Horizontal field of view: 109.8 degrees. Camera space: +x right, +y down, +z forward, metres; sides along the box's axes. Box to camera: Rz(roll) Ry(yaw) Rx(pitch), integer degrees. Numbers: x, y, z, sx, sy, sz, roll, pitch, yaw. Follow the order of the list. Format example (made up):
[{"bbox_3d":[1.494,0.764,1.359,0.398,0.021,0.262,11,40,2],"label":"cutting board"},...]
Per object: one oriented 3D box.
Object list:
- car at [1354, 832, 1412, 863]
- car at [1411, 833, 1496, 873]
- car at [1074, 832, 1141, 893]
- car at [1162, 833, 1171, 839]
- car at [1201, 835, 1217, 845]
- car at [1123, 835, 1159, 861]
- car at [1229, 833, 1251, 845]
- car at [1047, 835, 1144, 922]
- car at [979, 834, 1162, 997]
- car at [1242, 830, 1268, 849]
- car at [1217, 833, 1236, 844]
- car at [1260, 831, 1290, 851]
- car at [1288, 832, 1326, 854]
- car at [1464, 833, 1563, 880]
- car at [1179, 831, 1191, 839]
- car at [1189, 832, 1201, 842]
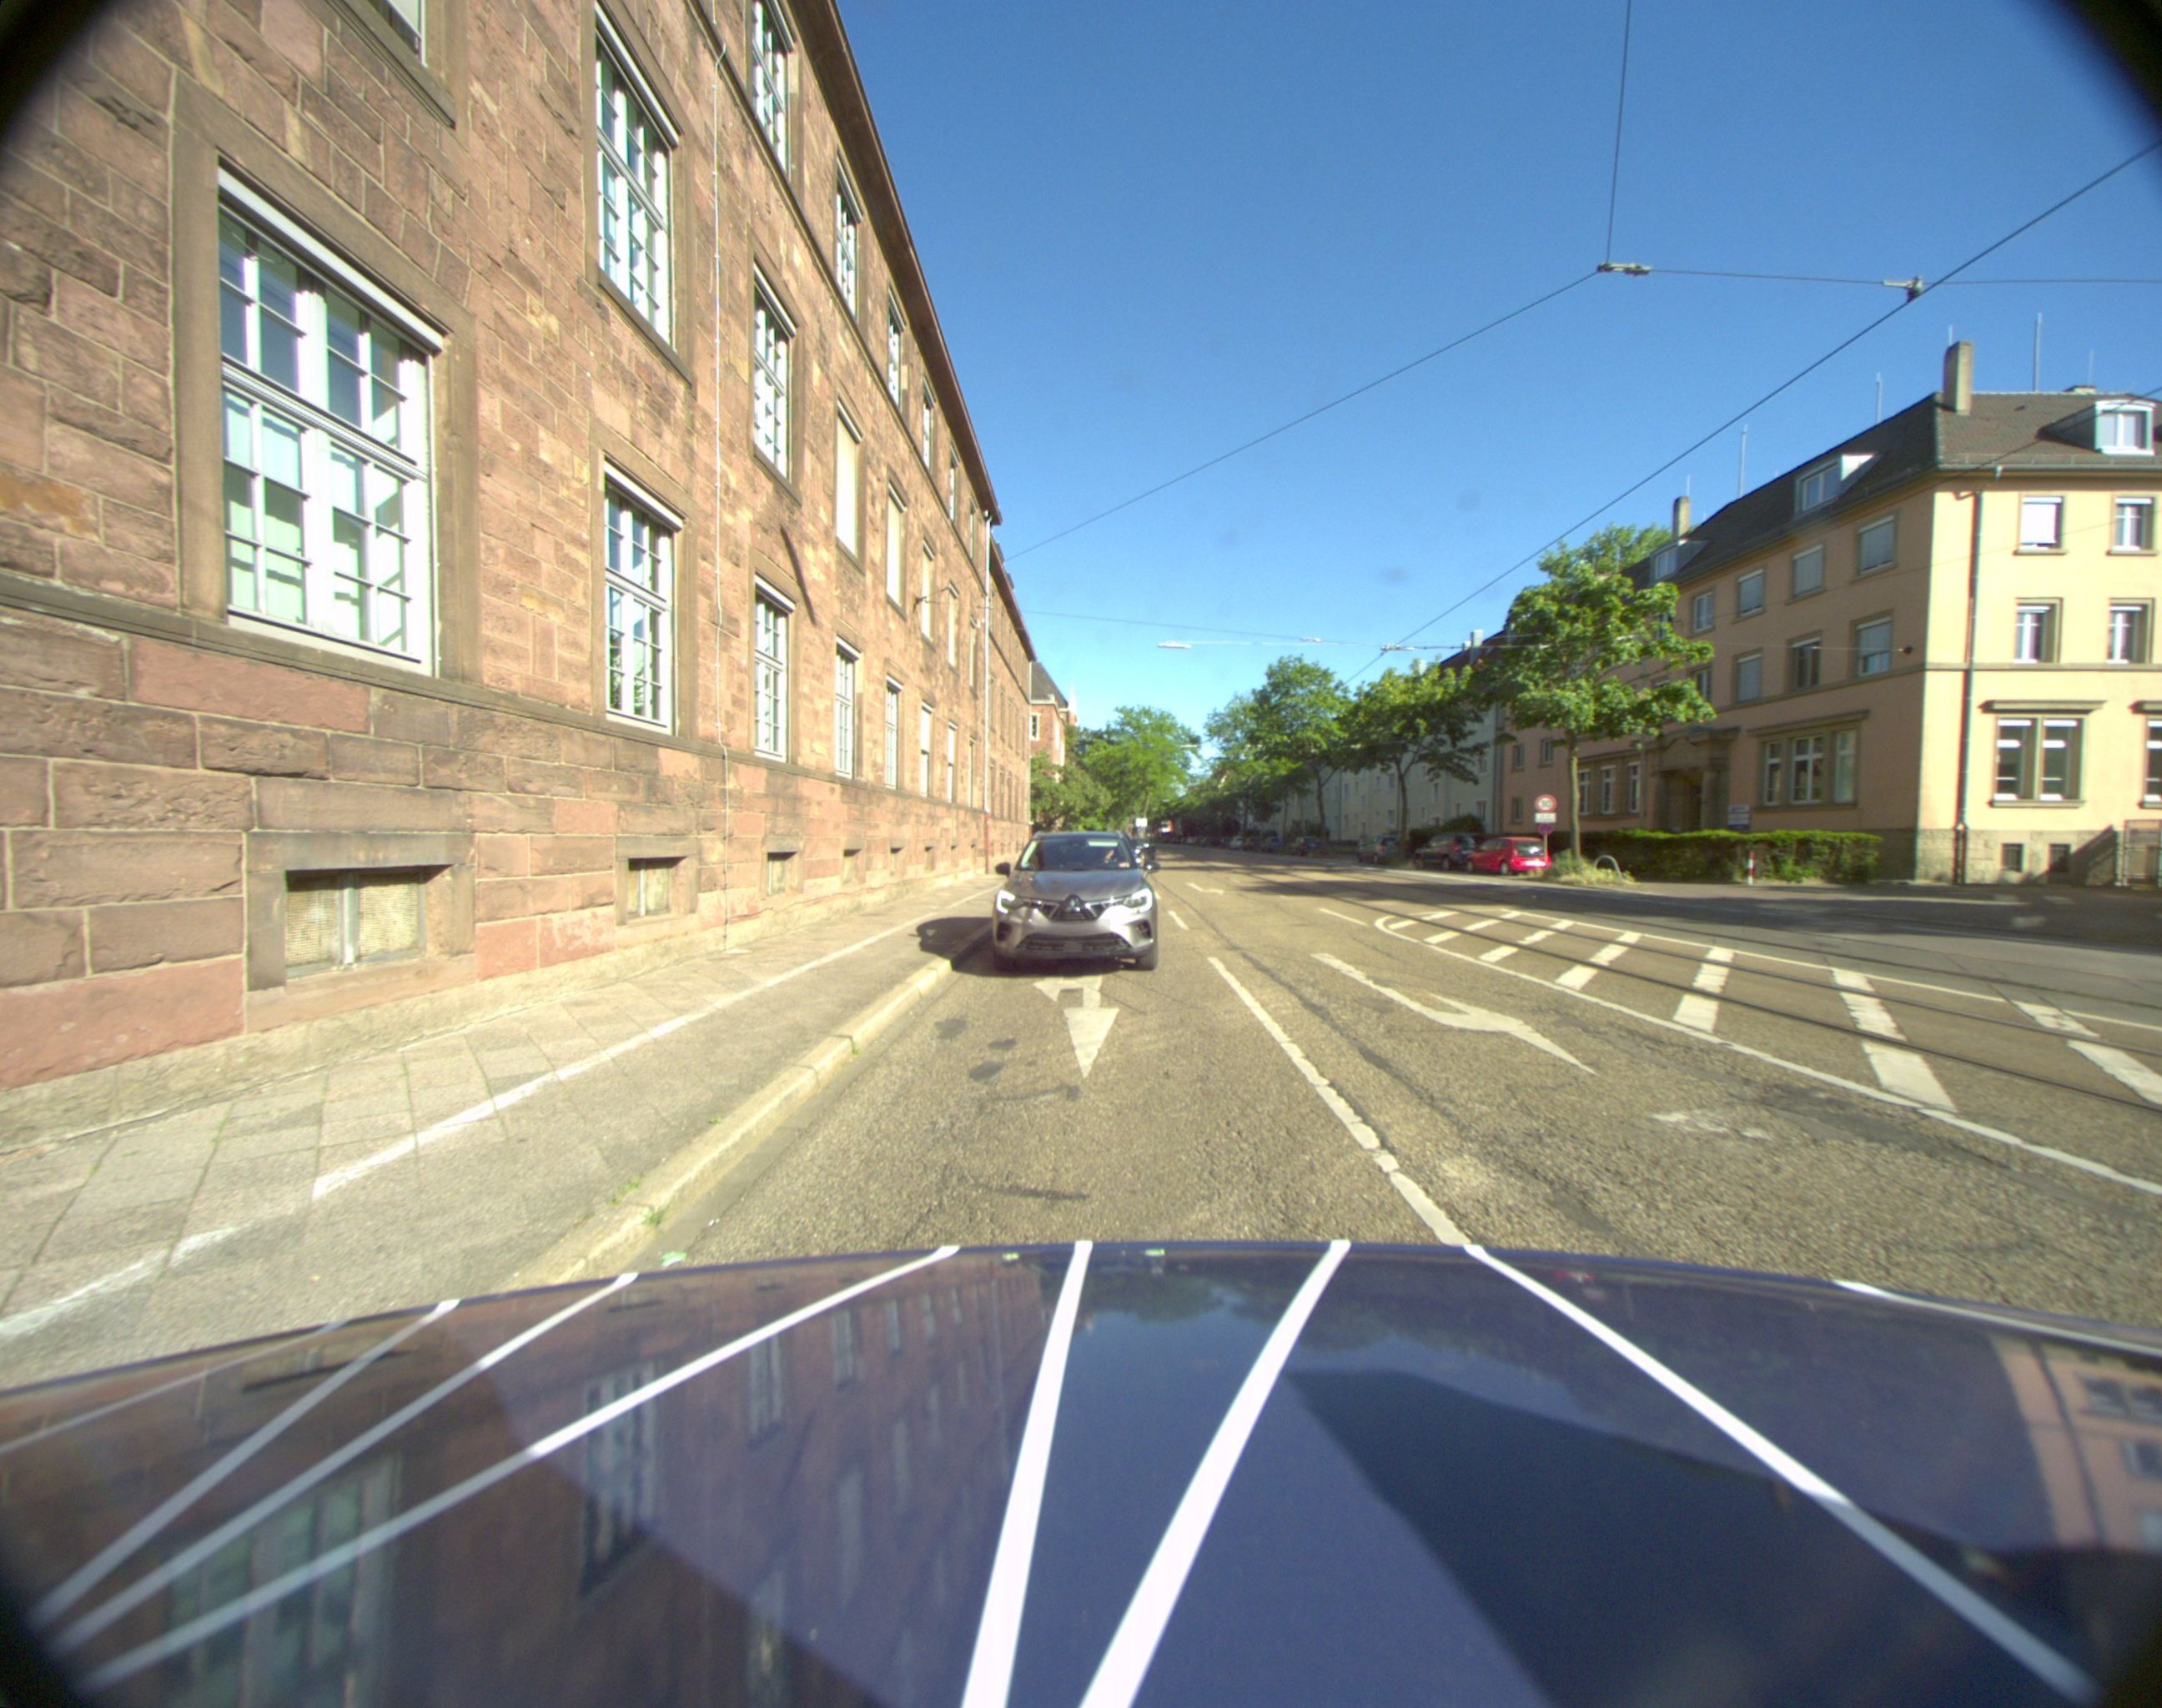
[{"bbox_3d":[17.024,-0.417,43.004,1.815,1.649,3.876,1,2,2],"label":"car"},{"bbox_3d":[16.666,-0.094,34.210,1.816,1.649,3.818,0,2,-2],"label":"car"},{"bbox_3d":[0.737,0.167,22.639,1.795,1.638,4.082,-1,2,0],"label":"car"},{"bbox_3d":[21.998,-4.621,194.816,1.816,1.411,3.629,1,2,0],"label":"car"},{"bbox_3d":[19.334,-2.171,115.204,1.816,1.411,3.629,1,2,0],"label":"car"},{"bbox_3d":[3.656,-0.387,46.875,1.911,1.510,3.999,0,2,1],"label":"car"},{"bbox_3d":[18.744,-1.760,89.518,1.816,1.411,3.629,1,2,0],"label":"car"},{"bbox_3d":[0.288,0.423,16.209,1.795,1.595,3.798,-1,2,0],"label":"car"},{"bbox_3d":[-0.095,0.569,9.499,1.795,1.595,3.798,-1,2,0],"label":"car"},{"bbox_3d":[18.329,-1.554,80.171,1.816,1.930,3.629,1,2,0],"label":"car"},{"bbox_3d":[18.832,-1.998,98.442,1.816,1.411,3.629,1,2,0],"label":"car"},{"bbox_3d":[18.123,-1.279,71.102,1.816,1.815,3.794,1,2,0],"label":"car"},{"bbox_3d":[17.579,-0.886,59.229,1.816,1.590,3.629,1,2,0],"label":"car"},{"bbox_3d":[16.736,0.053,29.587,1.816,1.697,3.373,0,2,-2],"label":"car"},{"bbox_3d":[20.551,-3.813,150.388,1.816,1.514,3.629,1,2,0],"label":"car"},{"bbox_3d":[20.806,-3.180,138.756,1.816,1.768,3.629,1,2,0],"label":"car"}]
